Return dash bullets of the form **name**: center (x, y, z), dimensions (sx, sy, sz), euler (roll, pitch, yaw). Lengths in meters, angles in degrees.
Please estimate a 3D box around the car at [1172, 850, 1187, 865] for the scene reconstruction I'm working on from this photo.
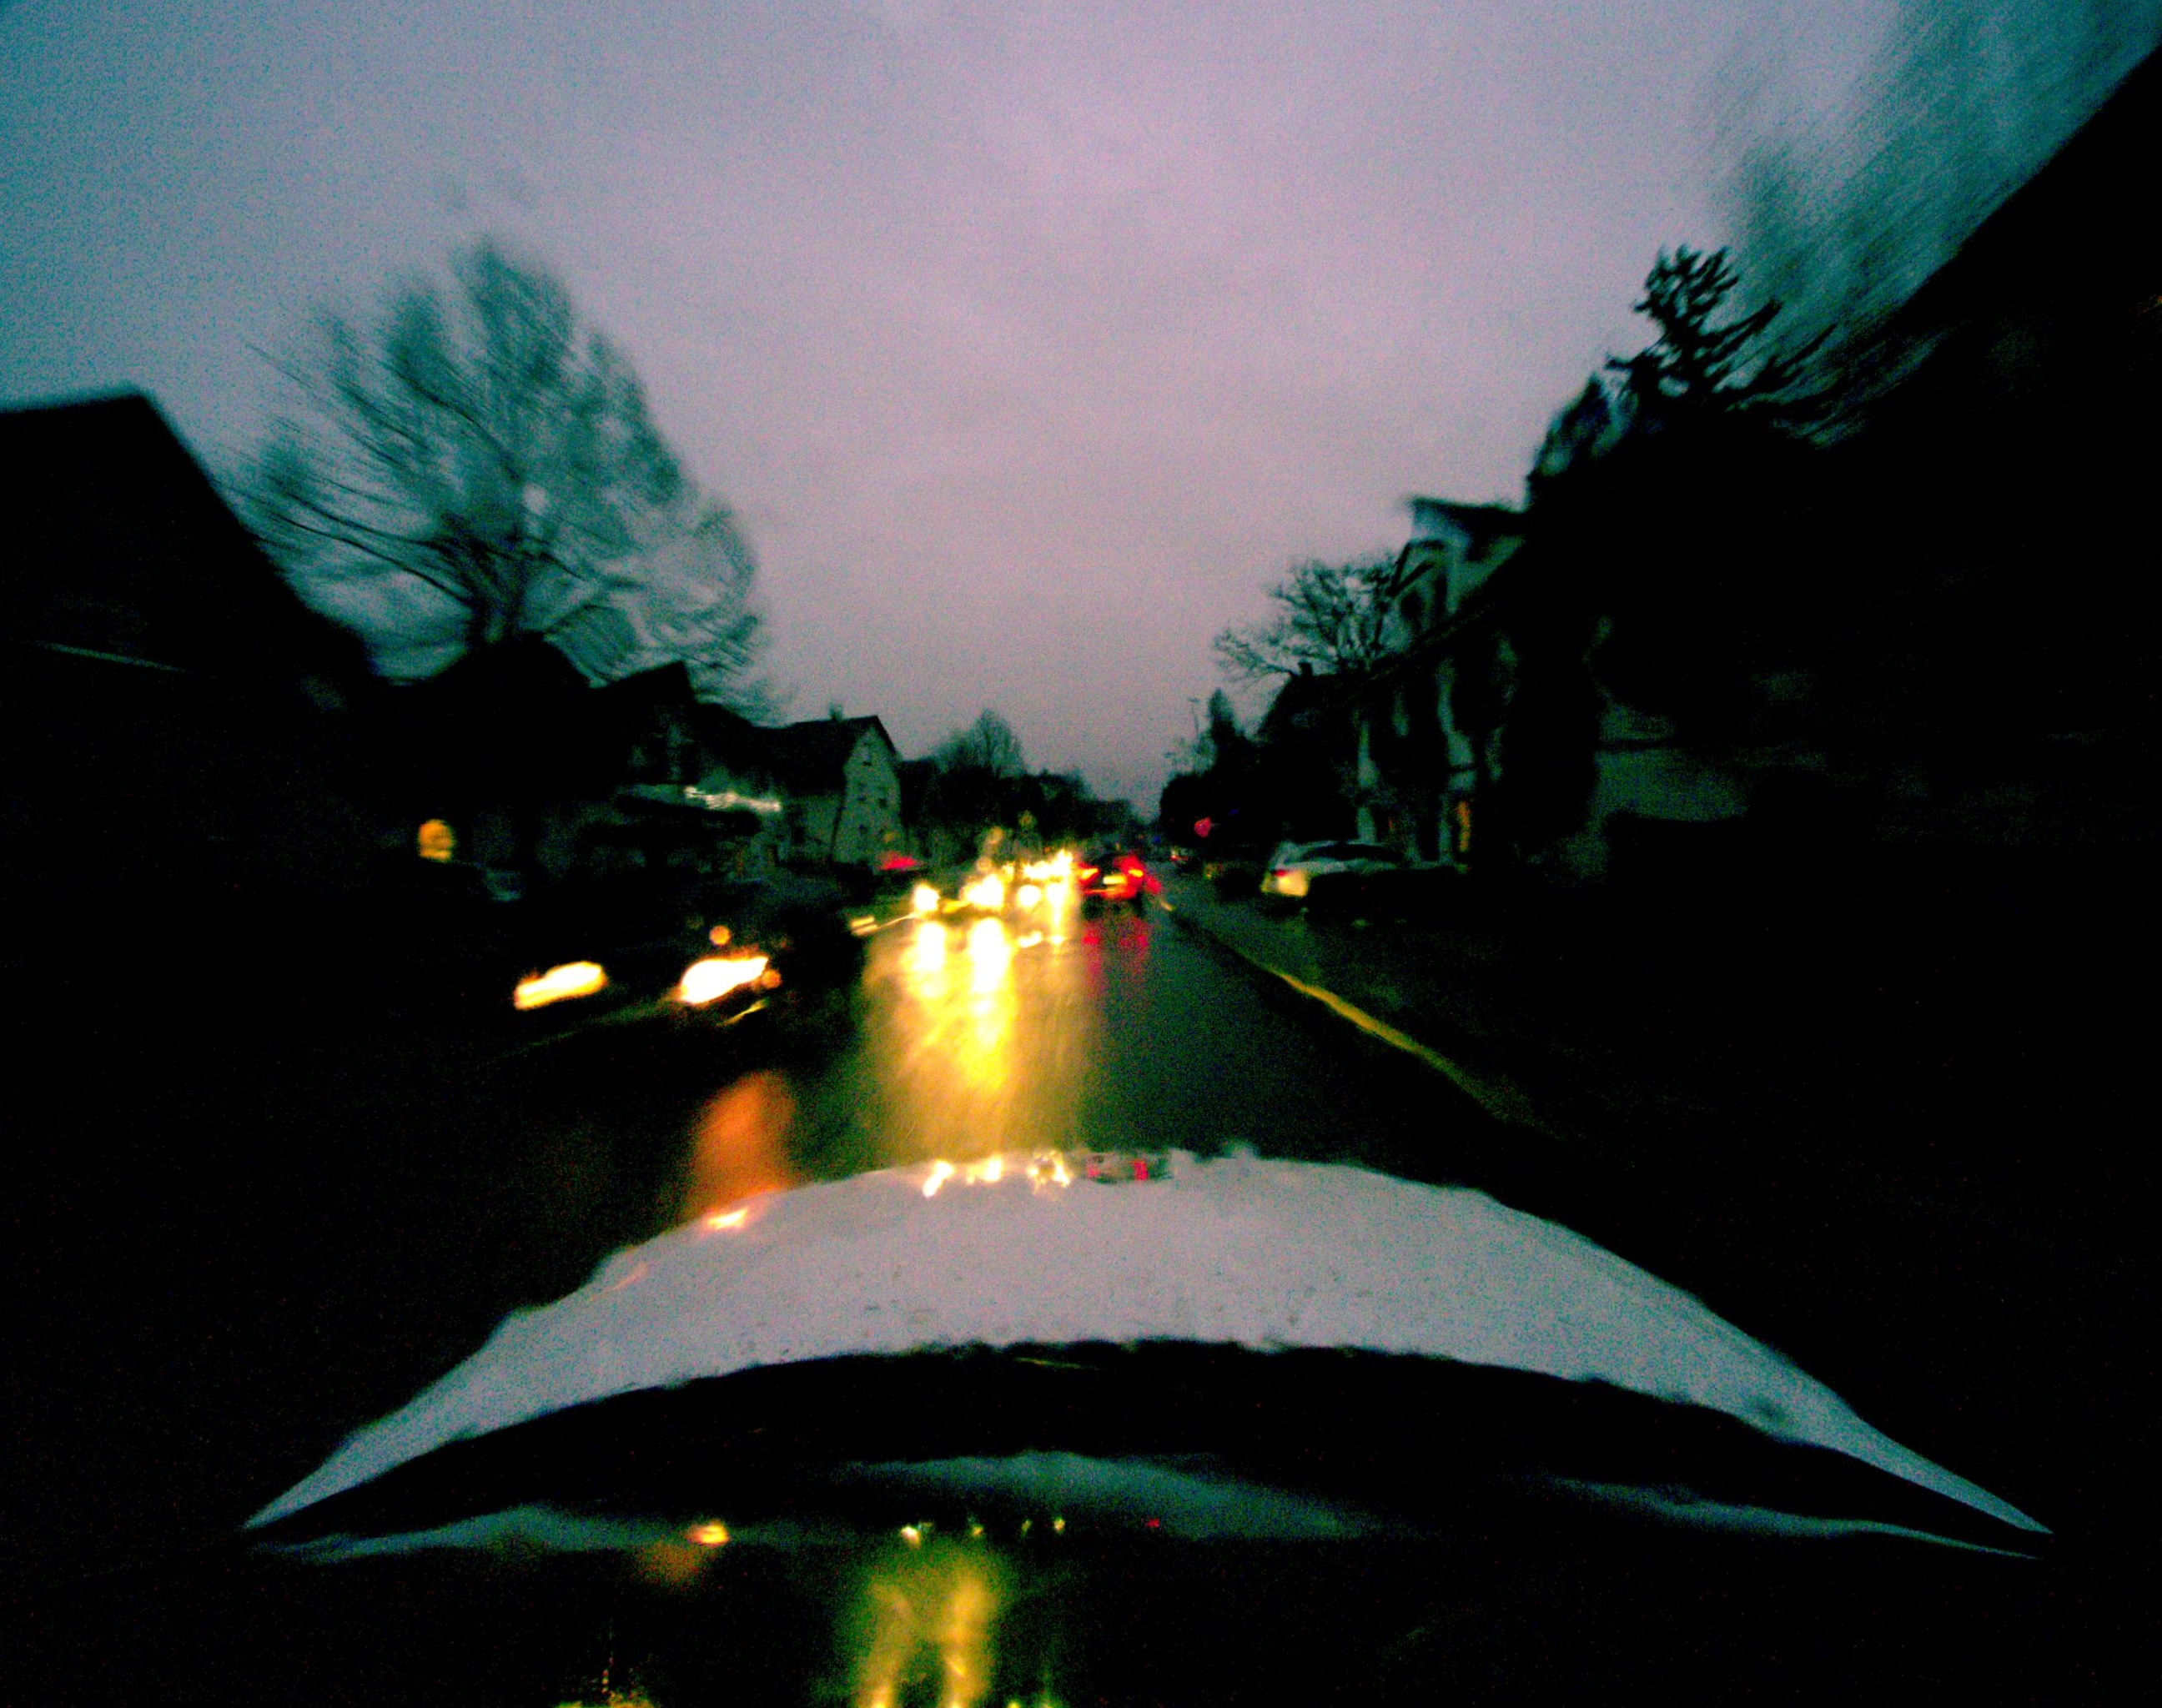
- **car**: center (14.069, 0.536, 116.541), dimensions (1.983, 2.013, 4.008), euler (-3, 0, 6)

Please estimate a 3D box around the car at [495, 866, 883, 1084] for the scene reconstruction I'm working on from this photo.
- **car**: center (-3.371, 0.923, 7.987), dimensions (1.698, 1.441, 4.001), euler (-4, 0, 1)

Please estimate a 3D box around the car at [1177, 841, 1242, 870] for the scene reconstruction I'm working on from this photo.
- **car**: center (9.078, 0.095, 57.912), dimensions (4.305, 1.732, 2.001), euler (-5, 0, 2)

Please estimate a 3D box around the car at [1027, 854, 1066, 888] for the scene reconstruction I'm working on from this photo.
- **car**: center (-1.875, 0.904, 45.363), dimensions (1.807, 1.633, 4.226), euler (-3, 0, 2)

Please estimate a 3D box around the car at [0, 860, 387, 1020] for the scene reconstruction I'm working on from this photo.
- **car**: center (-12.821, 1.016, 11.435), dimensions (1.985, 1.756, 4.572), euler (-2, 0, 3)

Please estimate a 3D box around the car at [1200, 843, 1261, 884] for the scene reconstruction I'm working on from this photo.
- **car**: center (6.253, 0.354, 34.537), dimensions (1.885, 1.554, 4.759), euler (-2, 0, 3)

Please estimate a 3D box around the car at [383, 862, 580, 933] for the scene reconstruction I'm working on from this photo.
- **car**: center (-17.348, 1.243, 23.654), dimensions (4.524, 1.800, 1.917), euler (-2, 0, 9)

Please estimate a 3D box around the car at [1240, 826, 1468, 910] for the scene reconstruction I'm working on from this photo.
- **car**: center (6.196, 0.318, 18.981), dimensions (4.708, 1.629, 1.911), euler (-3, 0, 7)

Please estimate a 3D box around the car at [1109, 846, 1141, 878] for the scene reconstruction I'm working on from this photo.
- **car**: center (2.987, 0.505, 54.420), dimensions (1.984, 2.014, 4.005), euler (-1, 0, 4)

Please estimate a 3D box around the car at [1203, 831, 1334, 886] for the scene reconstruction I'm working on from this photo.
- **car**: center (6.387, 0.174, 28.130), dimensions (4.087, 1.706, 2.000), euler (-2, -1, 1)

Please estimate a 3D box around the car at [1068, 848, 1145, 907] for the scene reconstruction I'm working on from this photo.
- **car**: center (0.722, 0.614, 23.471), dimensions (1.986, 1.525, 4.001), euler (-1, 0, 1)

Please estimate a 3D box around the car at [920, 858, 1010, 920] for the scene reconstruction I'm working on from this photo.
- **car**: center (-3.117, 0.901, 22.731), dimensions (1.698, 1.441, 4.426), euler (-4, 0, 1)
